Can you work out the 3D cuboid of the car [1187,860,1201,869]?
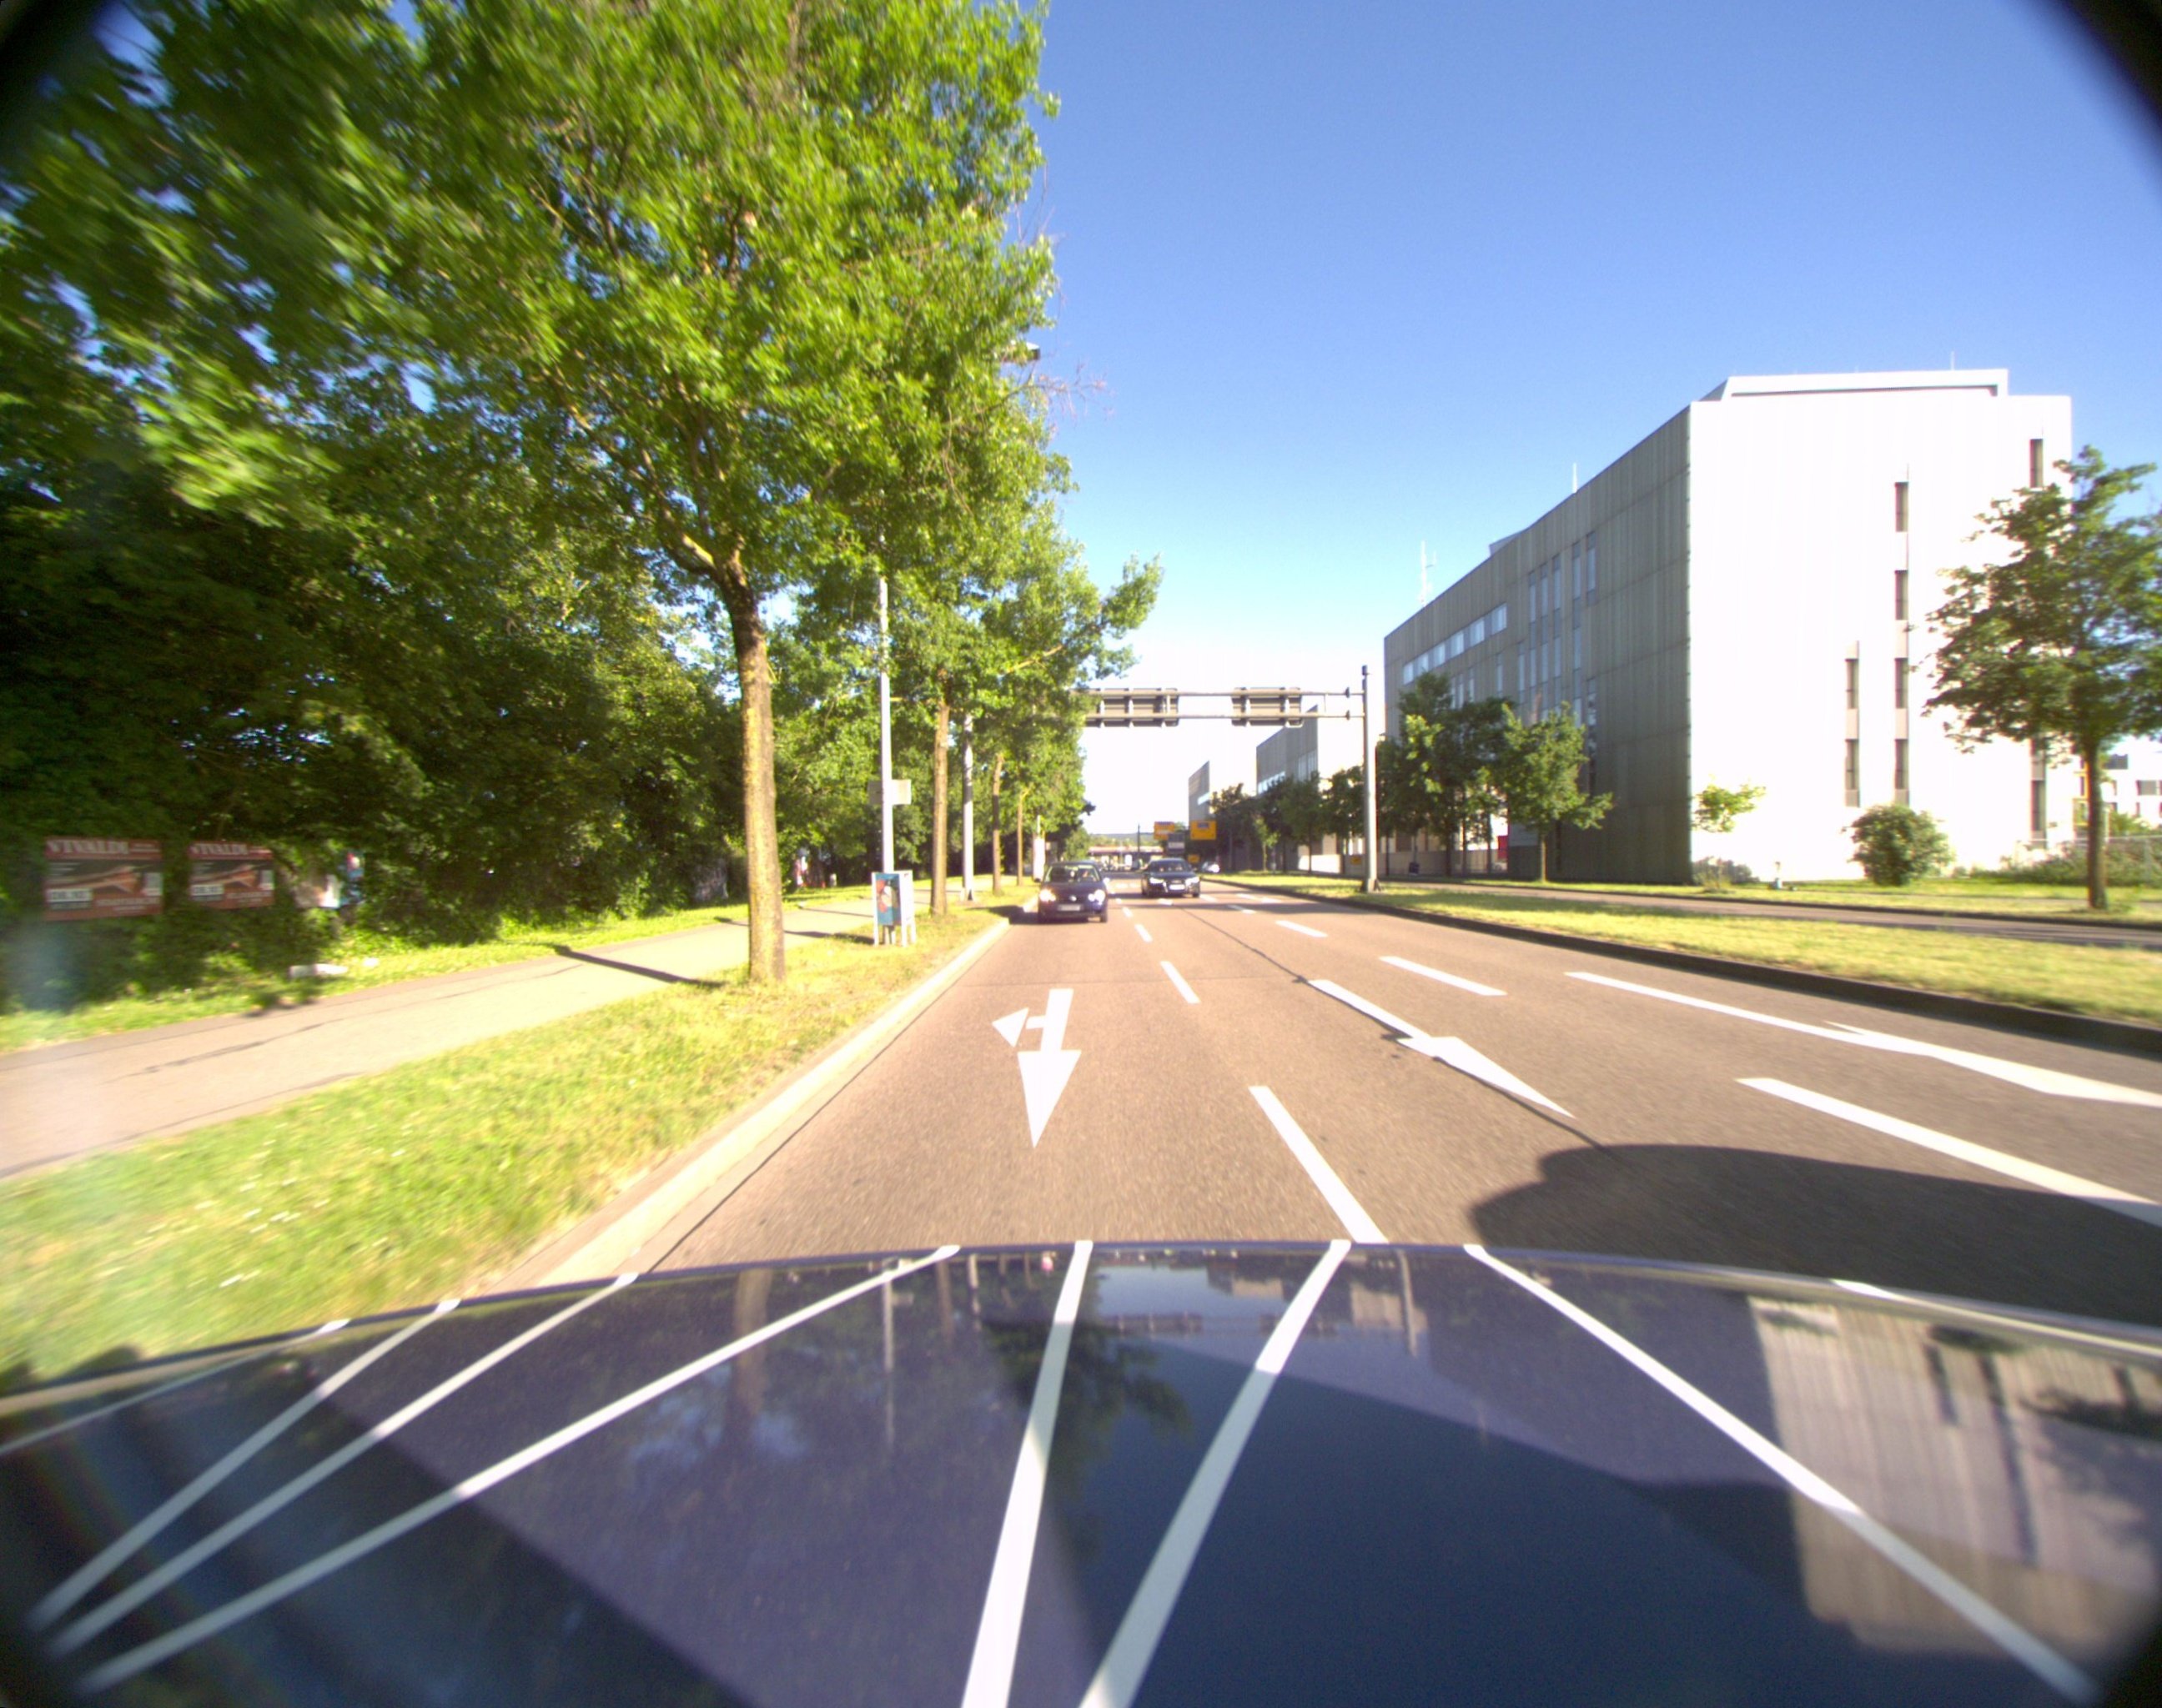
[{"bbox_3d":[21.086,1.970,142.210,1.998,1.569,4.000,-1,0,1],"label":"car"}]

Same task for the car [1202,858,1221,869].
[{"bbox_3d":[17.894,1.281,104.353,1.998,1.569,4.000,-1,0,1],"label":"car"}]

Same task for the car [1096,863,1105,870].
[{"bbox_3d":[5.115,3.307,199.454,1.998,1.678,4.002,0,0,5],"label":"car"}]

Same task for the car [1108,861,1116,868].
[{"bbox_3d":[8.370,2.861,205.065,1.998,1.678,4.002,0,0,5],"label":"car"}]

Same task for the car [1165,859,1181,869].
[{"bbox_3d":[14.450,1.598,119.291,1.998,1.569,4.000,-1,0,1],"label":"car"}]

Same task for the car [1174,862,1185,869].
[{"bbox_3d":[21.317,2.514,164.309,1.998,1.582,4.000,-1,0,1],"label":"car"}]

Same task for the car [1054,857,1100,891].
[{"bbox_3d":[-0.149,0.930,37.424,1.756,1.446,4.001,-3,0,6],"label":"car"}]

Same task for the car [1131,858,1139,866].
[{"bbox_3d":[15.876,2.356,223.556,1.998,2.467,4.571,-1,0,1],"label":"car"}]

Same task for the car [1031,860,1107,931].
[{"bbox_3d":[-0.204,0.952,19.330,1.637,1.459,4.546,-3,0,2],"label":"car"}]

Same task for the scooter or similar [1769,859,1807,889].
[{"bbox_3d":[26.858,0.742,28.878,0.453,1.103,1.408,0,0,14],"label":"scooter or similar"}]

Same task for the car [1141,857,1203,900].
[{"bbox_3d":[3.357,0.868,28.830,1.797,1.435,5.017,-1,0,1],"label":"car"}]

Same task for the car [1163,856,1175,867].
[{"bbox_3d":[17.623,1.402,151.677,1.998,2.172,4.000,-1,0,1],"label":"car"}]
